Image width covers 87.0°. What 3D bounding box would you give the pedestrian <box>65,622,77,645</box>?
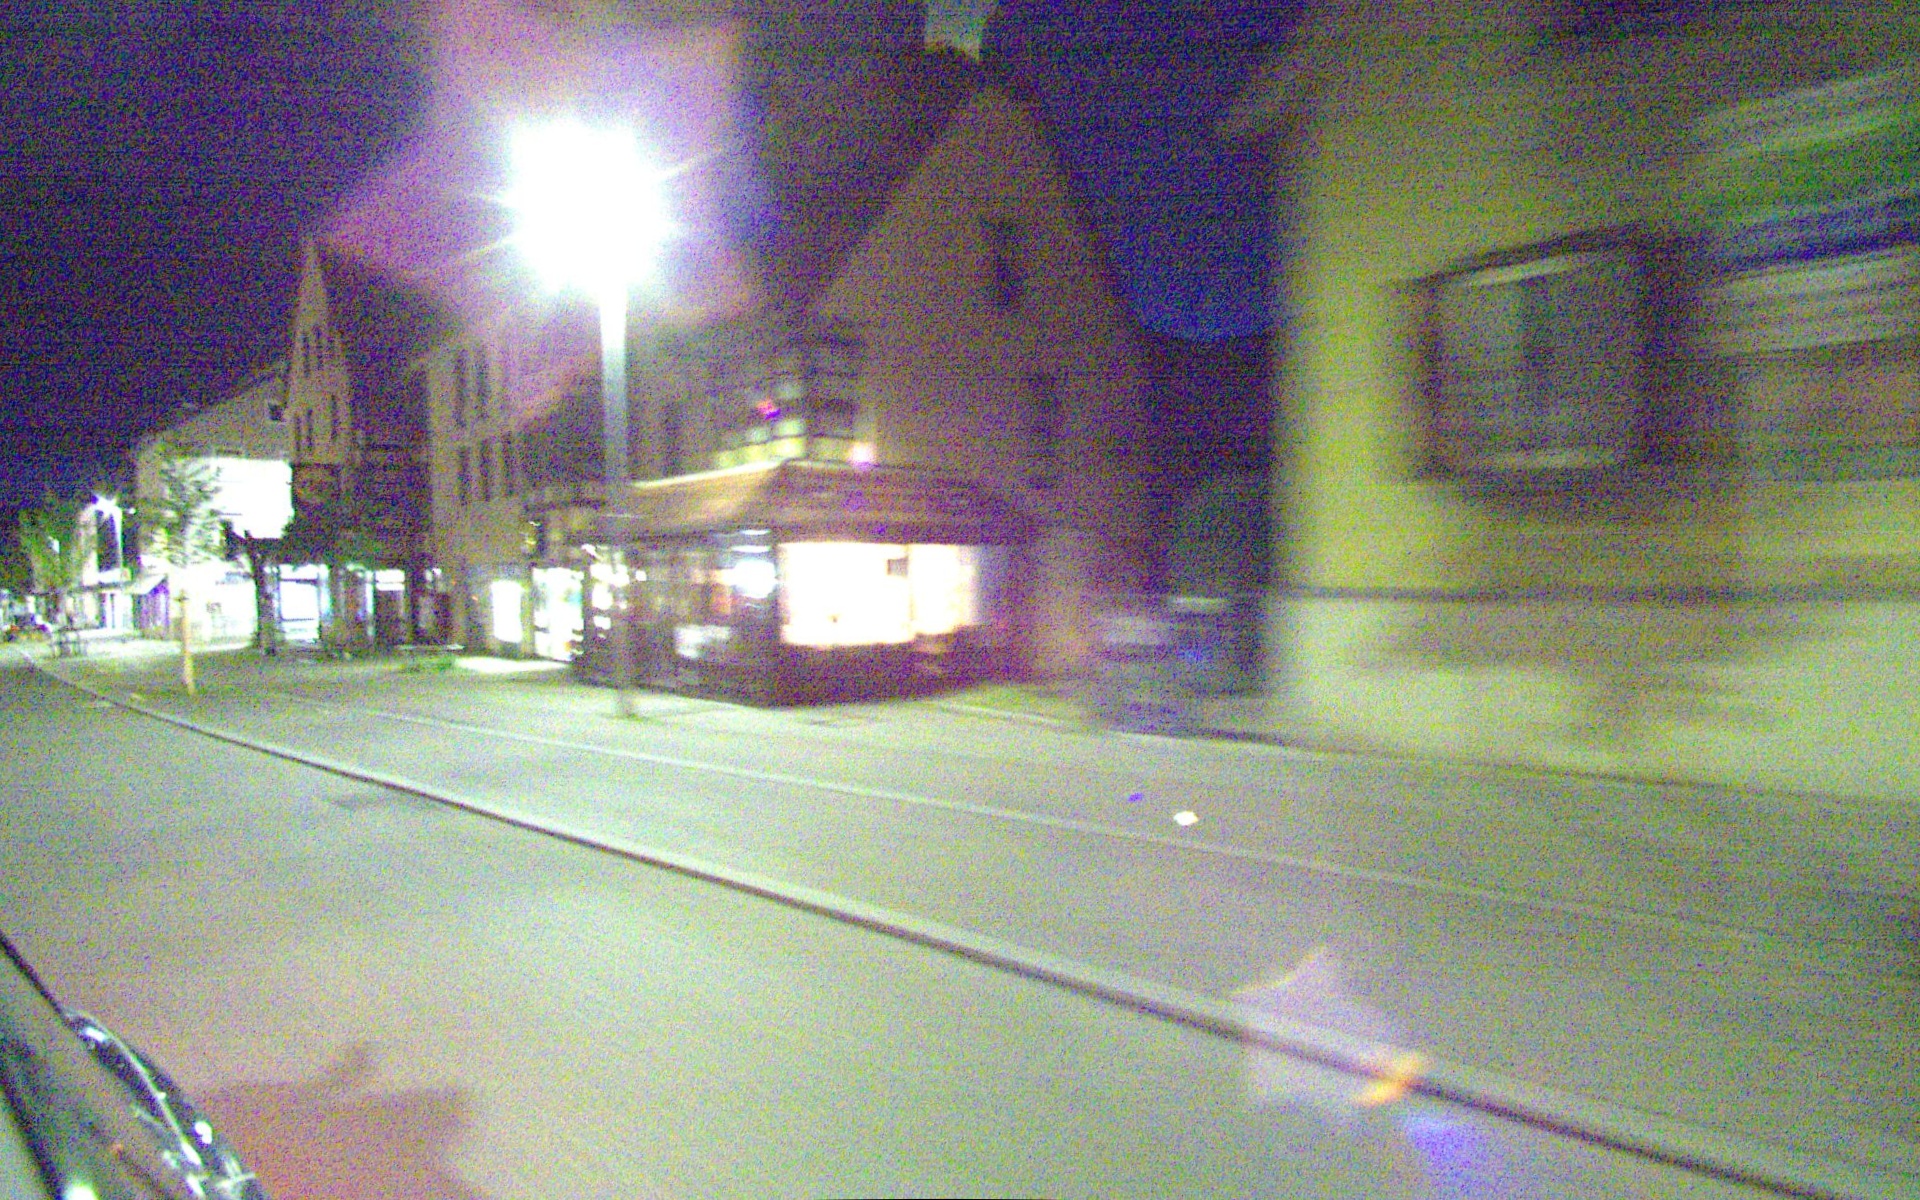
[{"bbox_3d":[-64.374,2.423,73.272,0.664,1.600,0.523,-2,0,33],"label":"pedestrian"}]

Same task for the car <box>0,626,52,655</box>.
[{"bbox_3d":[-52.151,2.228,56.394,4.930,1.430,1.876,-2,1,43],"label":"car"}]

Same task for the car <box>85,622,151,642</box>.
[{"bbox_3d":[-65.467,2.478,78.700,1.653,1.427,3.781,-2,-1,44],"label":"car"}]

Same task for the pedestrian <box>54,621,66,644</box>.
[{"bbox_3d":[-64.778,2.340,72.849,0.664,1.600,0.523,-2,0,36],"label":"pedestrian"}]
